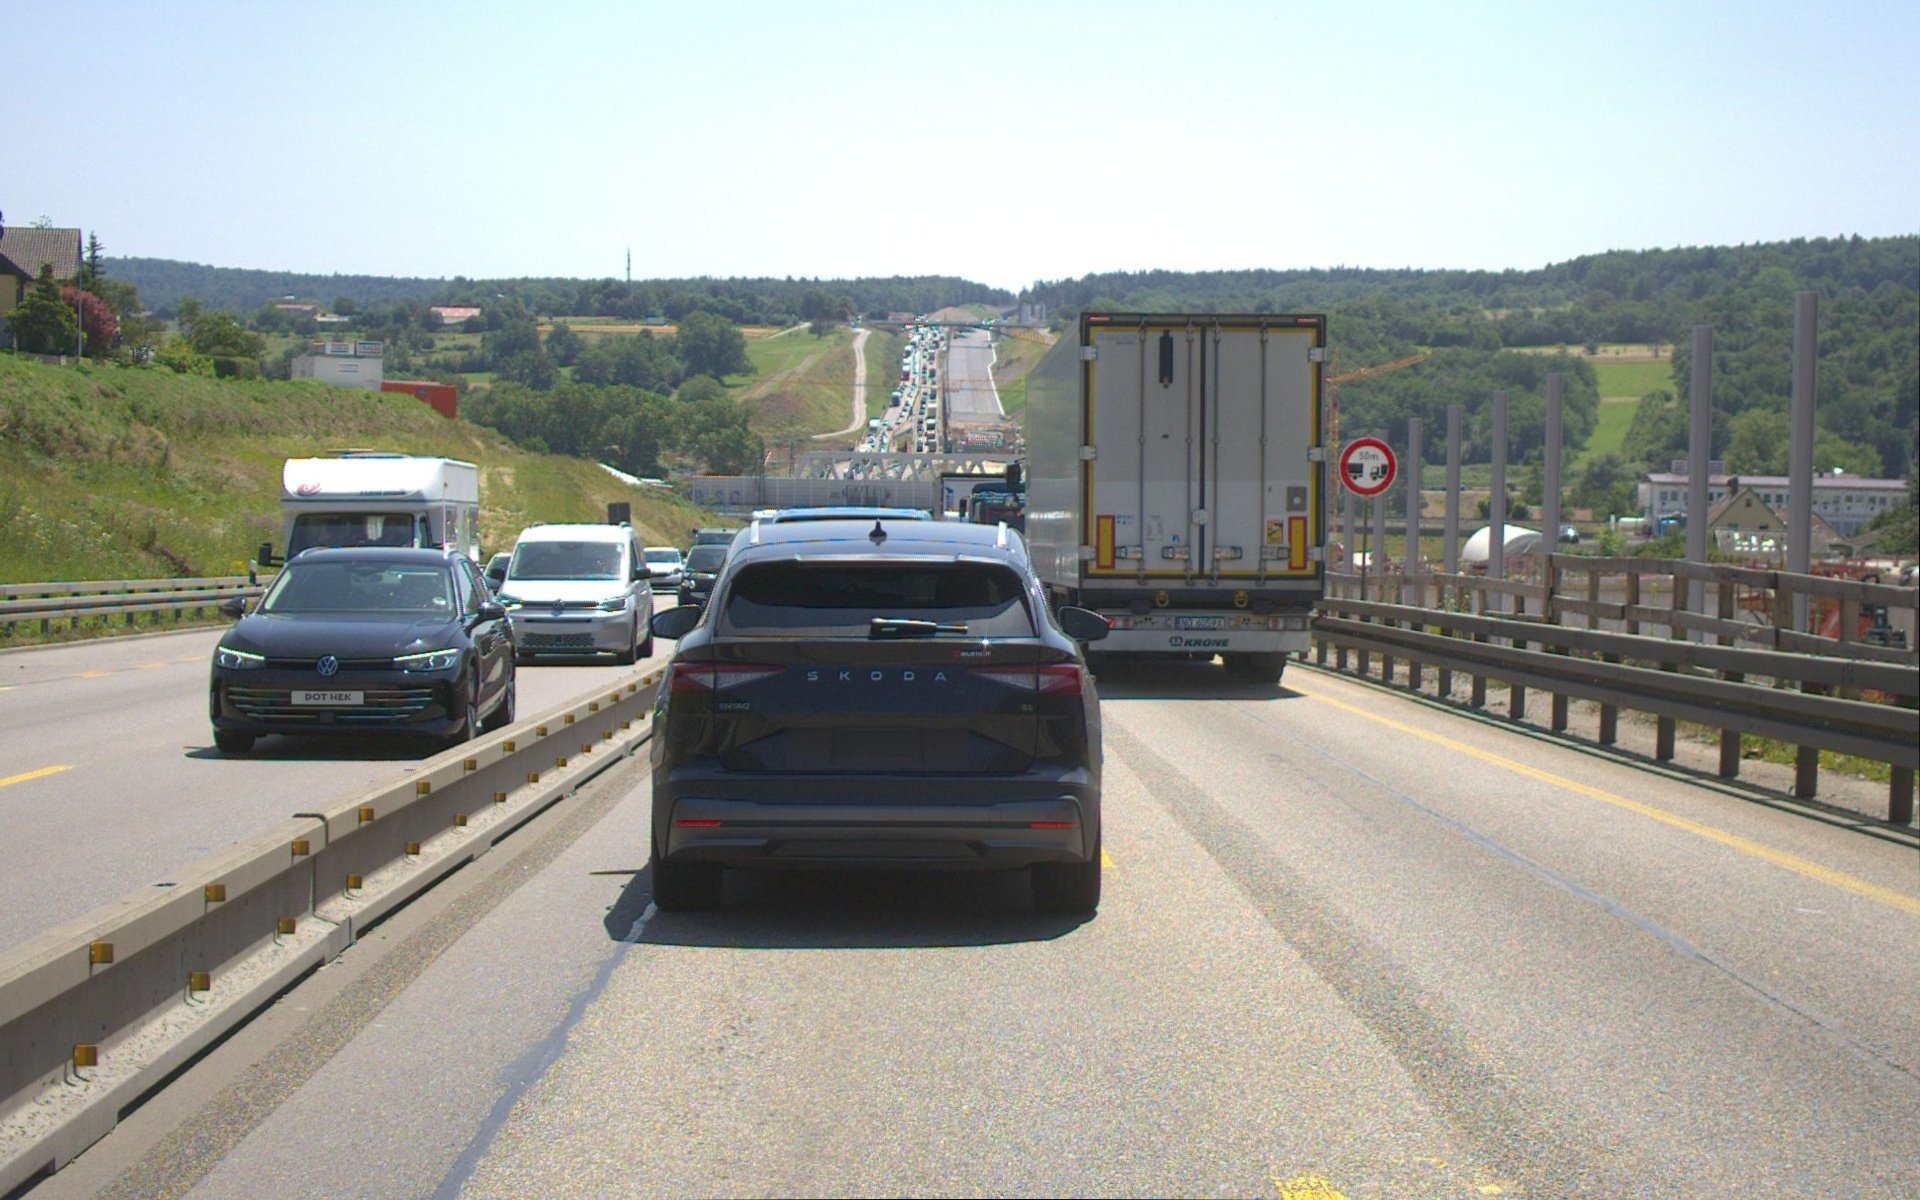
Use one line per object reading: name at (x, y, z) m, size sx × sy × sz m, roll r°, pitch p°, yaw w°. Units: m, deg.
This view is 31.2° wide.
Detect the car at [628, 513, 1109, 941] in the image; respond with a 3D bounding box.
car at (-0.358, 0.464, 14.951) m, size 1.802 × 1.602 × 4.000 m, roll 0°, pitch 0°, yaw 0°

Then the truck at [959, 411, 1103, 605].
truck at (1.666, -2.146, 84.267) m, size 3.180 × 4.498 × 8.166 m, roll 0°, pitch 0°, yaw -1°

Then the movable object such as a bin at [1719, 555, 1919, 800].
movable object such as a bin at (18.539, 1.506, 71.285) m, size 3.227 × 4.727 × 9.656 m, roll 0°, pitch 0°, yaw -1°

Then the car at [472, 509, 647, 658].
car at (-5.167, -0.248, 44.945) m, size 1.837 × 1.821 × 5.041 m, roll 0°, pitch 1°, yaw -2°

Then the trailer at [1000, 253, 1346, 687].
trailer at (2.294, -1.501, 42.390) m, size 3.180 × 4.497 × 13.110 m, roll 0°, pitch 1°, yaw -1°

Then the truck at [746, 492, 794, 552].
truck at (-11.741, -4.834, 212.921) m, size 2.779 × 3.660 × 6.278 m, roll 0°, pitch 1°, yaw -2°

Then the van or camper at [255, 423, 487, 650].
van or camper at (-8.461, -0.913, 50.042) m, size 2.291 × 3.056 × 6.924 m, roll 0°, pitch 1°, yaw -1°

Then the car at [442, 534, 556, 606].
car at (-9.514, -0.642, 71.283) m, size 1.809 × 1.426 × 4.556 m, roll 1°, pitch 1°, yaw -1°

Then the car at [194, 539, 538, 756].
car at (-4.345, 0.287, 25.850) m, size 1.842 × 1.470 × 4.835 m, roll 0°, pitch 1°, yaw -1°

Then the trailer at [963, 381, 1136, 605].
trailer at (1.825, -2.151, 77.121) m, size 3.180 × 4.498 × 14.967 m, roll 0°, pitch 0°, yaw -1°

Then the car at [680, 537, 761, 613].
car at (-4.801, -0.512, 69.122) m, size 1.483 × 1.500 × 2.805 m, roll 0°, pitch 1°, yaw -1°

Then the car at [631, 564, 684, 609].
car at (-9.421, -0.410, 107.239) m, size 1.558 × 1.397 × 3.467 m, roll 0°, pitch 0°, yaw -4°

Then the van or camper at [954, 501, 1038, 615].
van or camper at (1.100, -1.187, 101.571) m, size 2.389 × 3.269 × 6.468 m, roll 0°, pitch 0°, yaw 1°

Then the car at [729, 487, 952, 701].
car at (-1.130, -0.048, 33.216) m, size 1.993 × 1.919 × 4.508 m, roll 0°, pitch 0°, yaw -1°

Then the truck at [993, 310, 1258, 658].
truck at (2.195, -1.603, 48.847) m, size 3.180 × 4.497 × 8.166 m, roll 0°, pitch 1°, yaw -1°

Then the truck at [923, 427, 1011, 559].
truck at (0.178, -3.841, 126.959) m, size 2.852 × 4.450 × 11.918 m, roll 0°, pitch 0°, yaw -2°

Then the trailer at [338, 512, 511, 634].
trailer at (-8.651, -0.461, 55.974) m, size 2.101 × 1.887 × 5.141 m, roll 0°, pitch 1°, yaw -1°

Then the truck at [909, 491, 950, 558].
truck at (-2.040, -4.941, 226.023) m, size 2.639 × 4.179 × 9.284 m, roll 0°, pitch 0°, yaw -1°

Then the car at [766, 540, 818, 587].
car at (-5.995, -1.320, 122.865) m, size 1.806 × 1.634 × 4.173 m, roll 0°, pitch 1°, yaw -2°
